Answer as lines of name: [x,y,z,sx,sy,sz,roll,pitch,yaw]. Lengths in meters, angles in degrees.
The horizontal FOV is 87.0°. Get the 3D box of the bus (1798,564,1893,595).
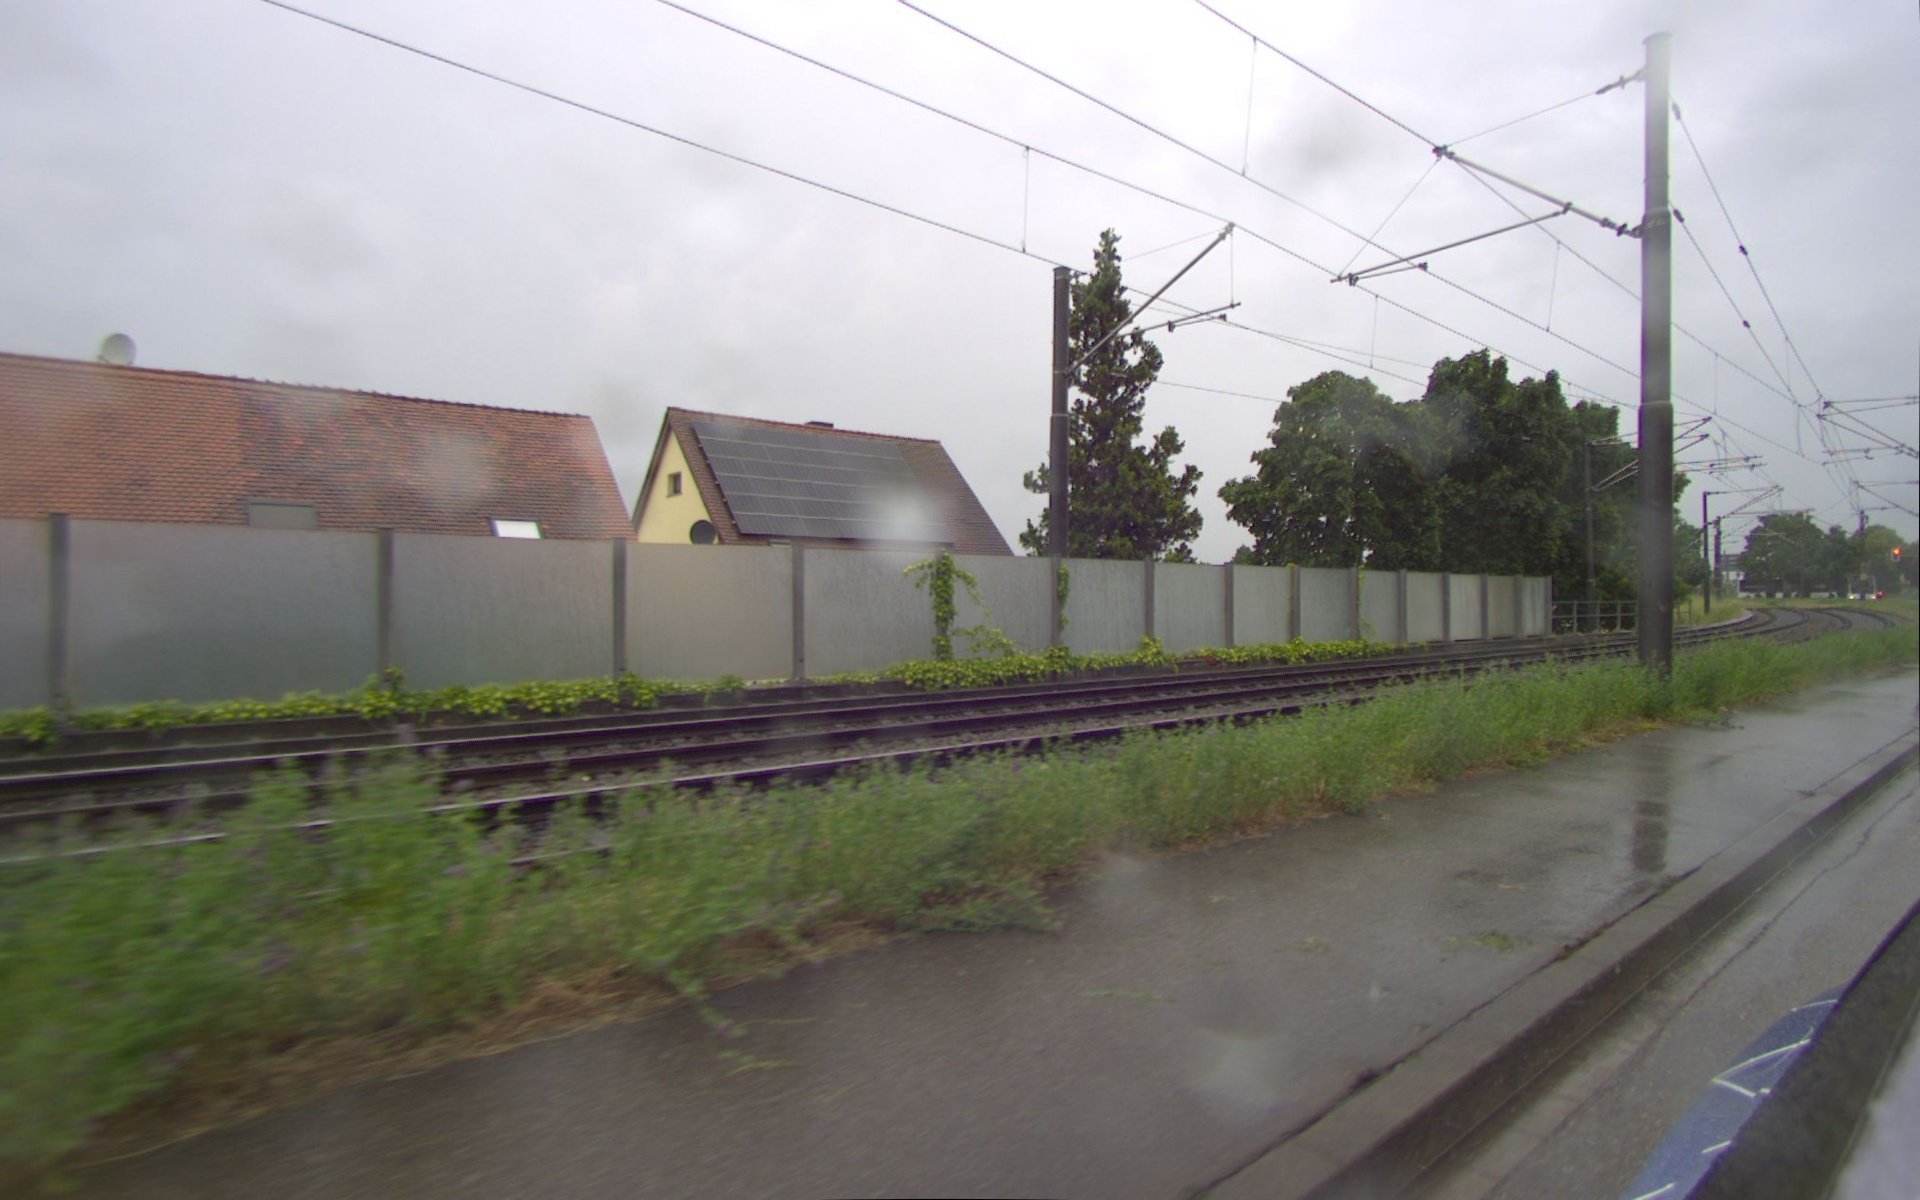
bus: [94.912,-2.136,108.769,2.634,3.116,9.968,-2,0,9]

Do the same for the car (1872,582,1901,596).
car: [105.058,-1.299,114.810,1.754,1.556,3.833,0,1,32]

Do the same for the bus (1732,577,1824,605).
bus: [95.767,-0.996,118.738,2.628,3.116,9.992,-1,0,1]
